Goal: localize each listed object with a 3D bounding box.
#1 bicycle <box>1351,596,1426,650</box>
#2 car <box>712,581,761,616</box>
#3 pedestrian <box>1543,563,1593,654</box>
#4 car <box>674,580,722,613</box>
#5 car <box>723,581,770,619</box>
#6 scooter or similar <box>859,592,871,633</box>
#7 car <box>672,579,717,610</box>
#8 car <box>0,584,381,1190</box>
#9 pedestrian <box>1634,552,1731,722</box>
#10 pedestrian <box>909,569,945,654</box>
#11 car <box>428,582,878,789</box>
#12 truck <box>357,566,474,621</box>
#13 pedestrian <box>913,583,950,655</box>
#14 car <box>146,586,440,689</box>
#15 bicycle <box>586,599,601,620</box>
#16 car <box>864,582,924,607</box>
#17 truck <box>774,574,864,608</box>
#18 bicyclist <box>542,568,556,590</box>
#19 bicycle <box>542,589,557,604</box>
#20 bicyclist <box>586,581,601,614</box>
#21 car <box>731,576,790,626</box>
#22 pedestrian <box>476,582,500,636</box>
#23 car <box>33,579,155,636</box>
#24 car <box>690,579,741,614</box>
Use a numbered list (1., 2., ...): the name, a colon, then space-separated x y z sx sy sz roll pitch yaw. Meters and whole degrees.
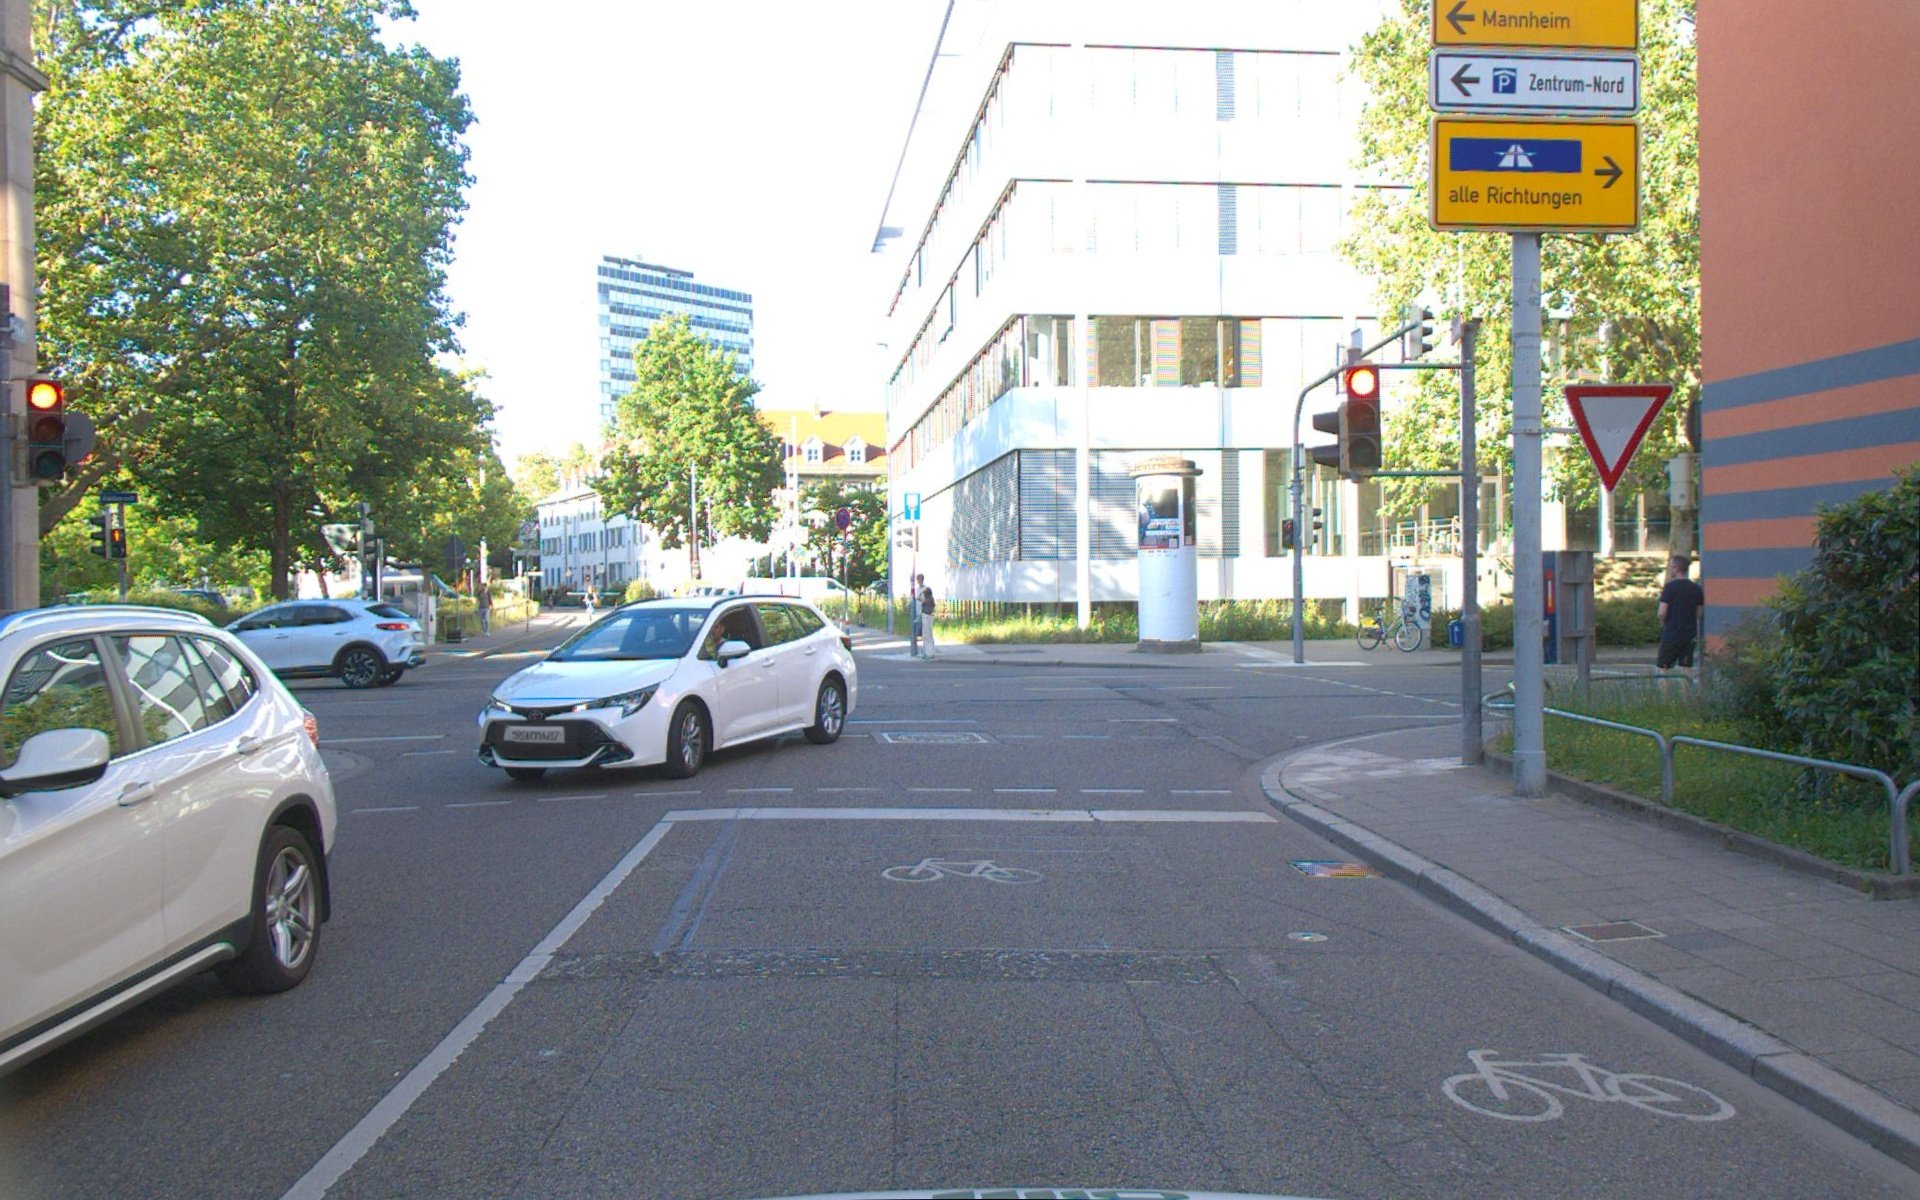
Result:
1. bicycle: 9.357 0.489 36.166 0.503 1.067 1.667 -3 4 -35
2. car: -10.598 -0.099 78.148 1.856 1.582 4.400 0 1 -14
3. pedestrian: 12.689 0.170 34.520 0.817 1.872 0.710 1 0 8
4. car: -14.345 -0.234 90.455 1.860 1.684 4.391 0 1 -19
5. car: -9.431 -0.025 72.794 1.854 1.582 4.404 0 1 -10
6. scooter or similar: -3.355 0.437 58.507 0.324 1.449 1.333 1 0 -6
7. car: -15.336 -0.330 95.262 1.860 1.684 4.391 0 1 -19
8. car: -3.412 0.800 5.147 1.651 1.610 4.274 -3 0 0
9. pedestrian: 8.211 0.407 18.822 0.692 1.872 0.837 1 0 -1
10. pedestrian: -0.752 0.260 37.786 0.547 1.882 0.678 -3 1 15
11. car: -2.541 0.666 14.997 1.848 1.501 4.545 -3 0 21
12. truck: -24.554 -0.322 74.754 4.741 2.441 2.082 0 1 -11
13. pedestrian: -0.637 0.426 37.181 0.551 1.567 0.673 -4 1 -19
14. car: -11.130 0.601 27.855 4.239 1.603 1.821 -1 0 -8
15. bicycle: -17.581 0.439 79.367 0.604 0.986 1.837 -1 1 -9
16. car: -4.151 -0.342 104.175 3.502 1.573 1.549 -1 0 -20
17. truck: -8.766 -0.556 102.920 5.258 2.049 1.989 -1 0 -20
18. bicyclist: -29.176 -1.494 117.415 0.850 1.541 1.016 -3 0 -11
19. bicycle: -29.115 -0.239 117.404 0.850 1.027 2.407 -3 0 -11
20. bicyclist: -17.591 -0.109 79.378 0.604 1.559 0.901 -1 0 -9
21. car: -7.827 -0.010 64.552 2.047 1.827 4.404 0 1 -10
22. pedestrian: -15.631 0.293 54.722 0.692 1.753 0.950 -2 0 -17
23. car: -39.965 0.341 76.438 4.472 2.433 2.069 -2 0 -10
24. car: -12.663 -0.220 85.366 1.860 1.684 4.391 0 1 -19
